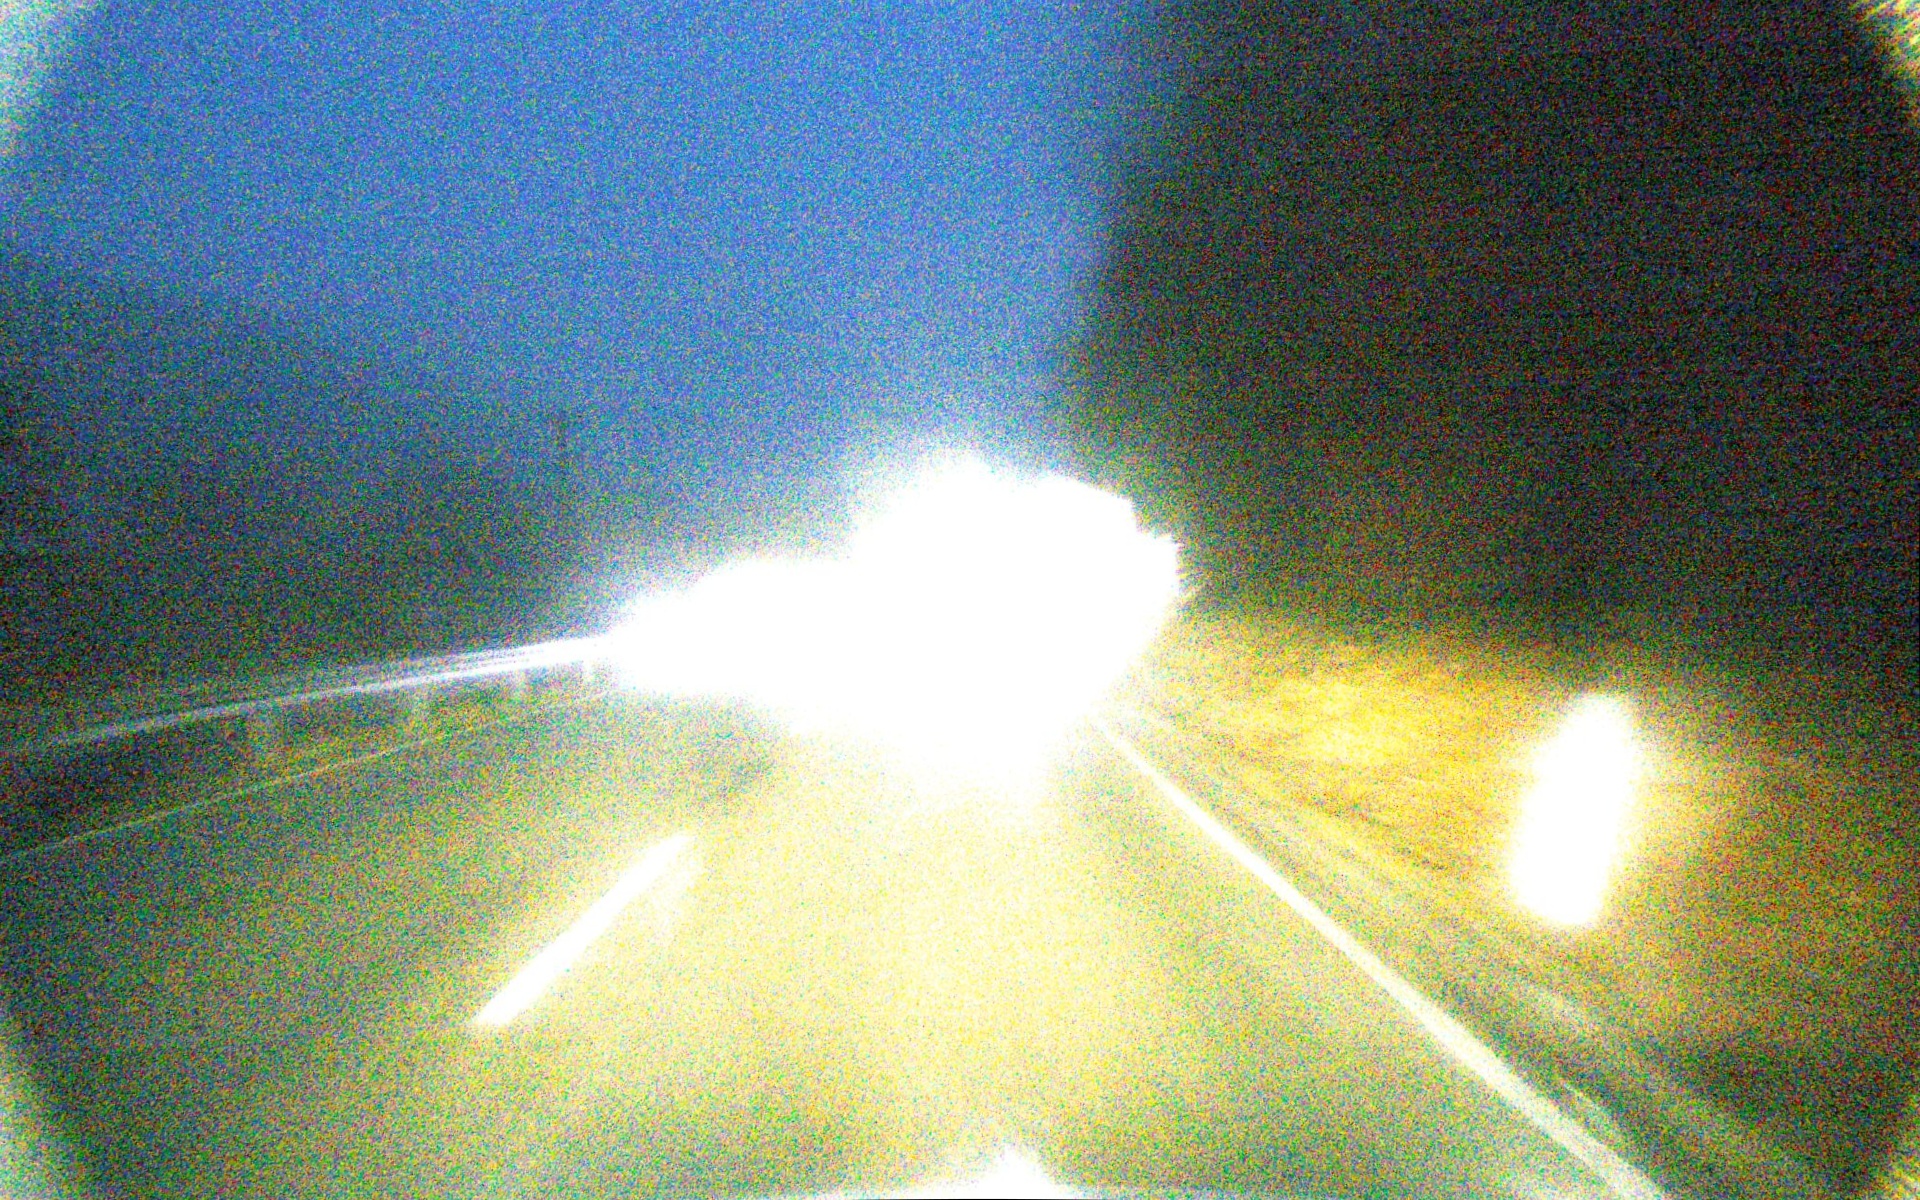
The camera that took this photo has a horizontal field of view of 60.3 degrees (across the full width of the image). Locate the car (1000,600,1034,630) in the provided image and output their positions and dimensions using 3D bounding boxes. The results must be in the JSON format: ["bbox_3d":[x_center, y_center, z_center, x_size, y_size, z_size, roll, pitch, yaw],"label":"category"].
[{"bbox_3d":[3.525,0.966,101.276,1.952,1.722,4.699,1,-2,3],"label":"car"}]
